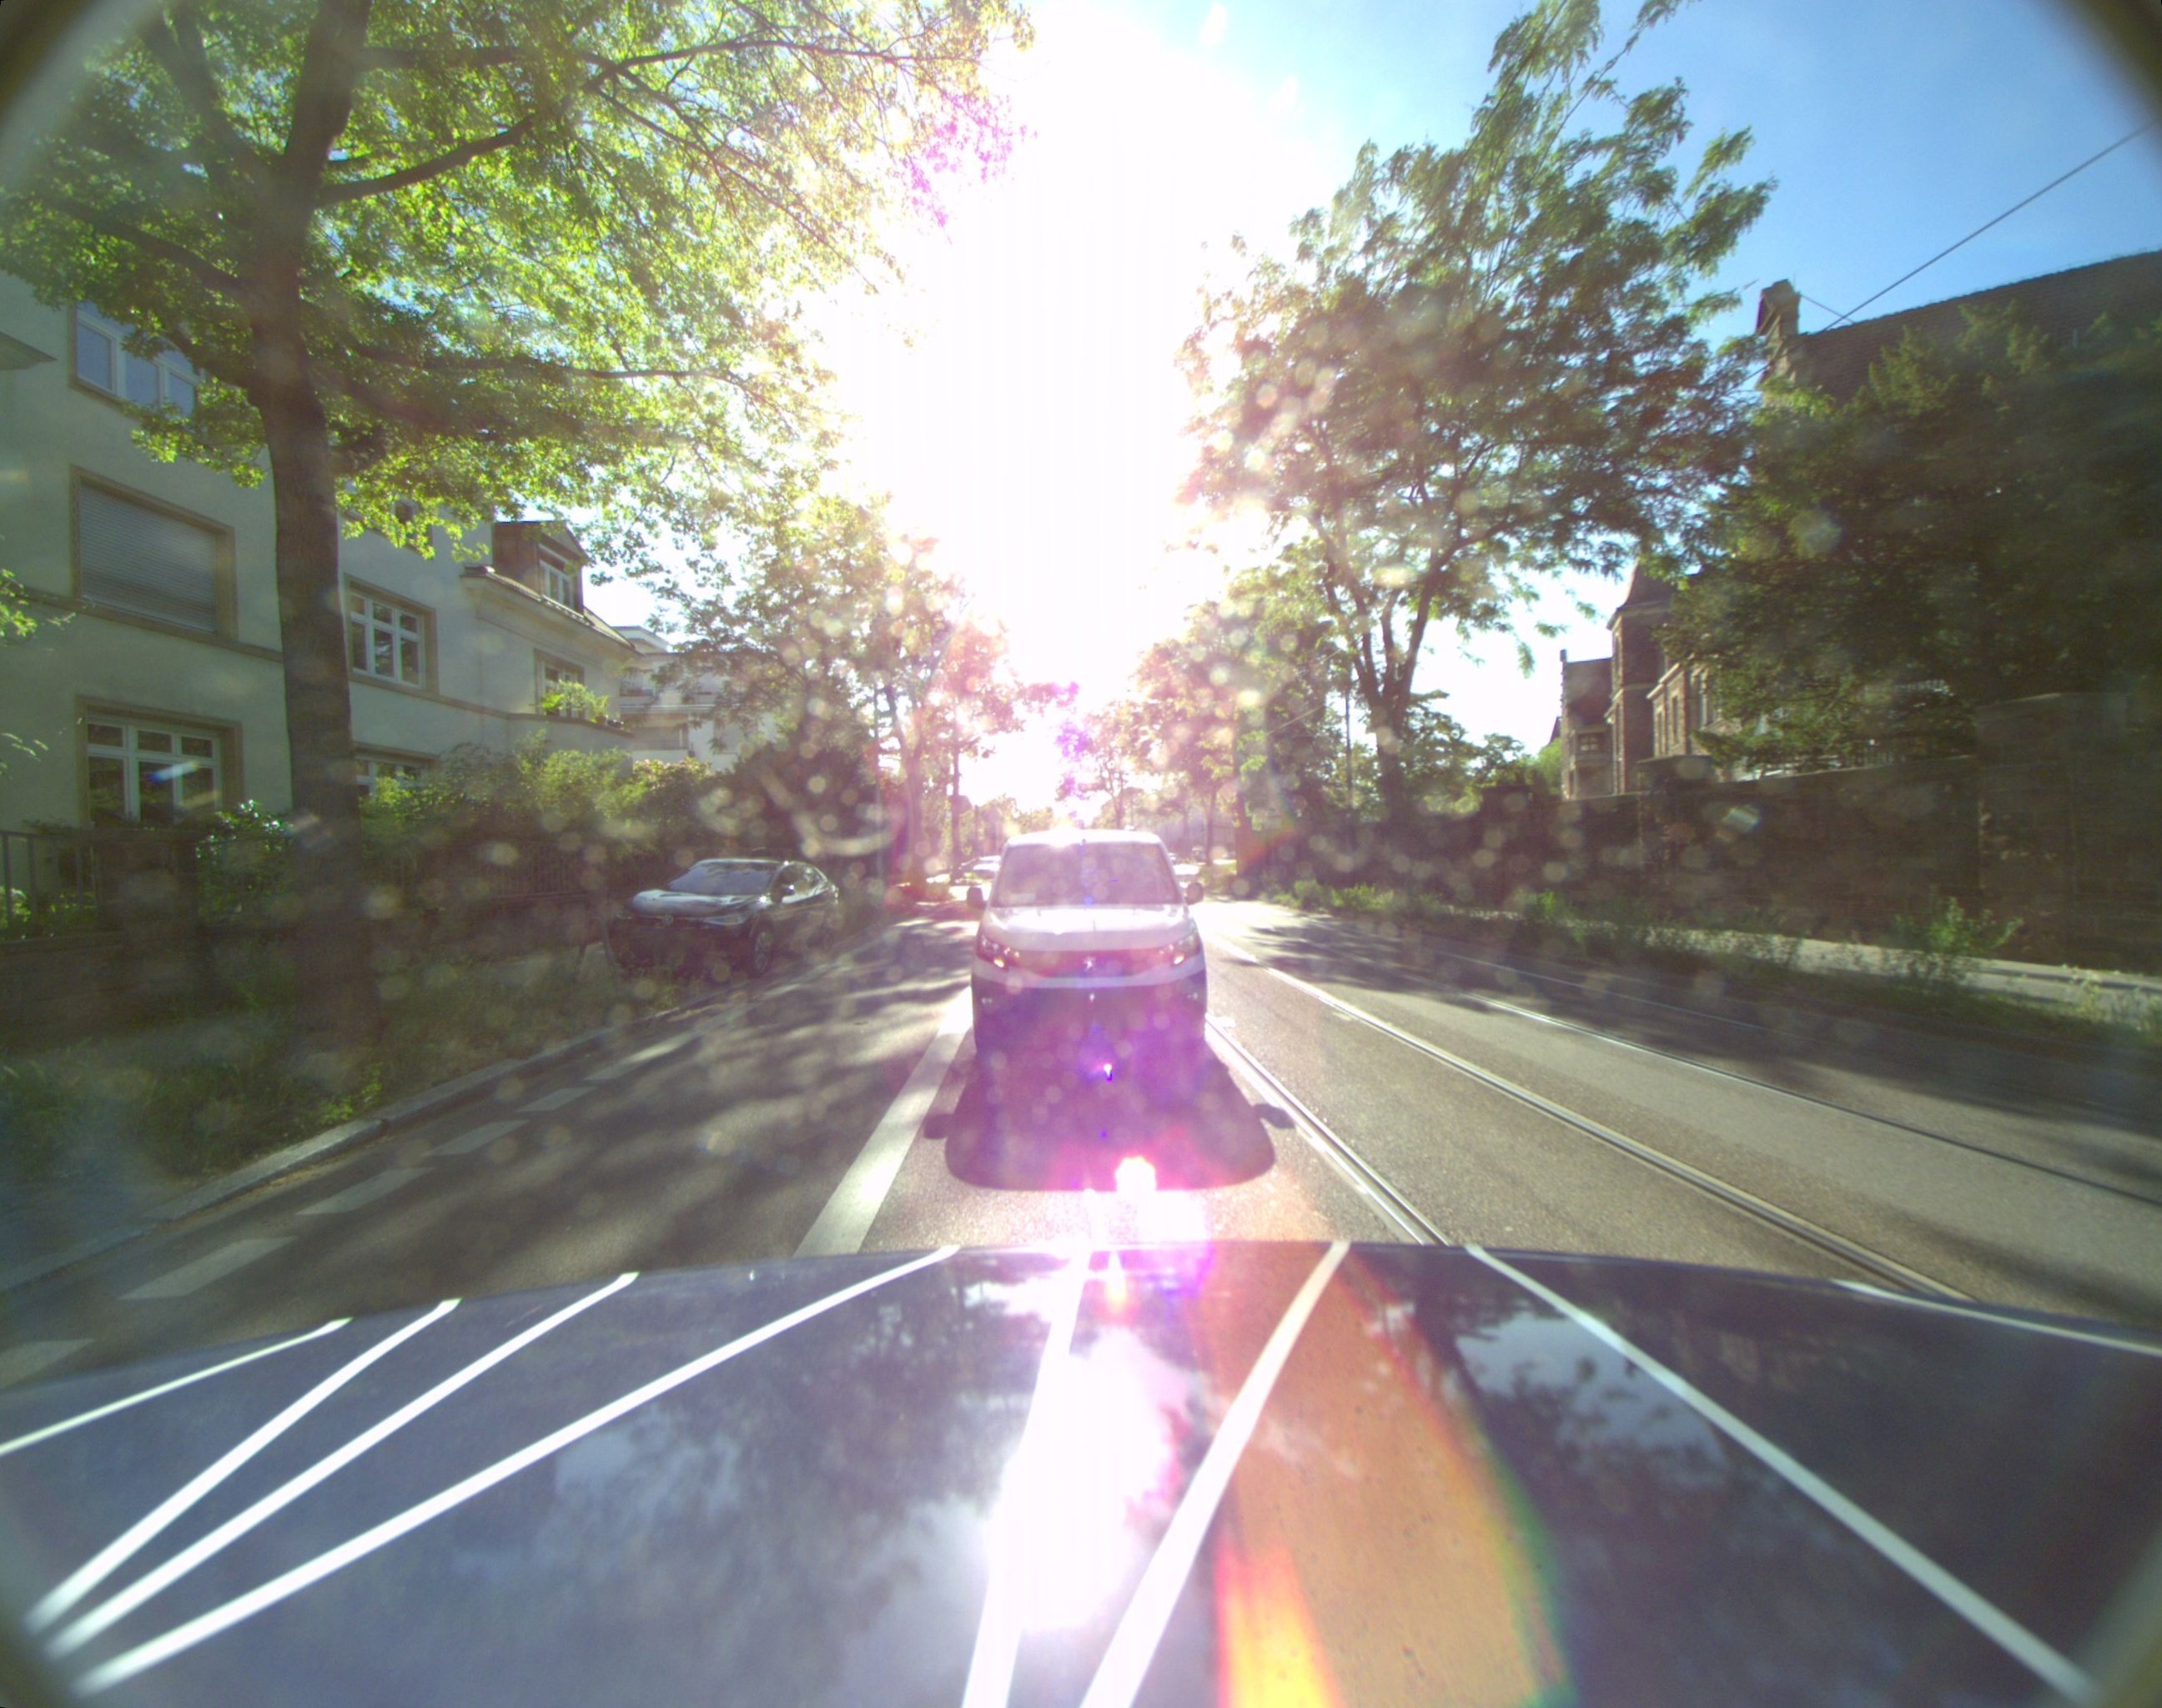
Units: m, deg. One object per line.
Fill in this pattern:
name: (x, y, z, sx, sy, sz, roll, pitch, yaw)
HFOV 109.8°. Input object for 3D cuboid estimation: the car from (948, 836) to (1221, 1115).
car: (0.019, 0.792, 6.985, 1.768, 1.812, 3.999, -1, 0, 0)

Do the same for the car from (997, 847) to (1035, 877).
car: (-4.366, 0.501, 51.776, 2.129, 1.884, 4.746, -2, 0, 1)

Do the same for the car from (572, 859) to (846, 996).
car: (-5.255, 0.934, 11.542, 1.999, 1.665, 4.380, 1, -1, 0)

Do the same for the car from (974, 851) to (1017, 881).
car: (-5.050, 0.659, 45.216, 1.823, 1.630, 4.001, -2, 0, 4)
